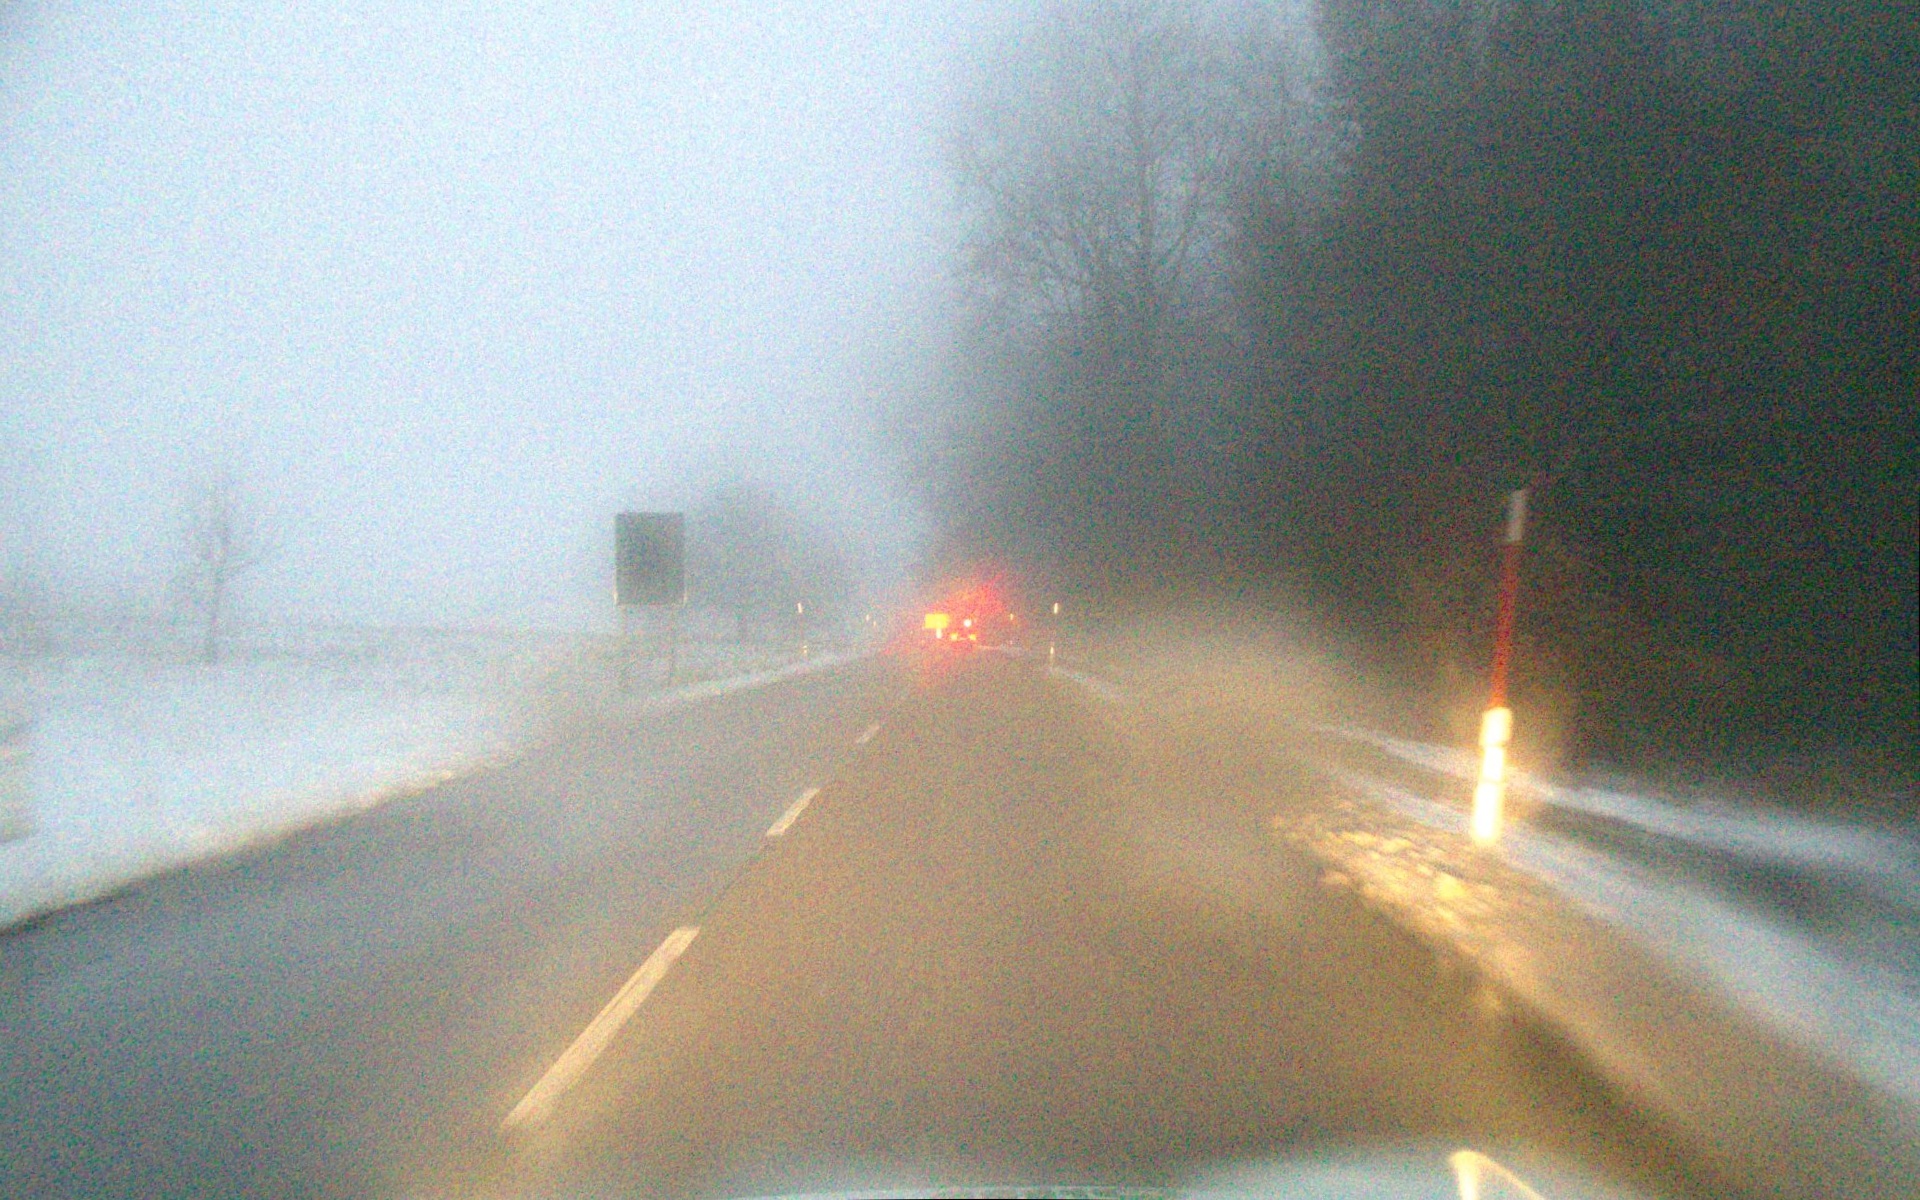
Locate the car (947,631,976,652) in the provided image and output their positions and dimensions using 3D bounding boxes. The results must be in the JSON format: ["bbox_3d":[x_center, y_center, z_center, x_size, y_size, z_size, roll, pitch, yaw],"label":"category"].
[{"bbox_3d":[0.102,2.936,117.860,1.953,1.445,3.999,-1,0,-1],"label":"car"}]
